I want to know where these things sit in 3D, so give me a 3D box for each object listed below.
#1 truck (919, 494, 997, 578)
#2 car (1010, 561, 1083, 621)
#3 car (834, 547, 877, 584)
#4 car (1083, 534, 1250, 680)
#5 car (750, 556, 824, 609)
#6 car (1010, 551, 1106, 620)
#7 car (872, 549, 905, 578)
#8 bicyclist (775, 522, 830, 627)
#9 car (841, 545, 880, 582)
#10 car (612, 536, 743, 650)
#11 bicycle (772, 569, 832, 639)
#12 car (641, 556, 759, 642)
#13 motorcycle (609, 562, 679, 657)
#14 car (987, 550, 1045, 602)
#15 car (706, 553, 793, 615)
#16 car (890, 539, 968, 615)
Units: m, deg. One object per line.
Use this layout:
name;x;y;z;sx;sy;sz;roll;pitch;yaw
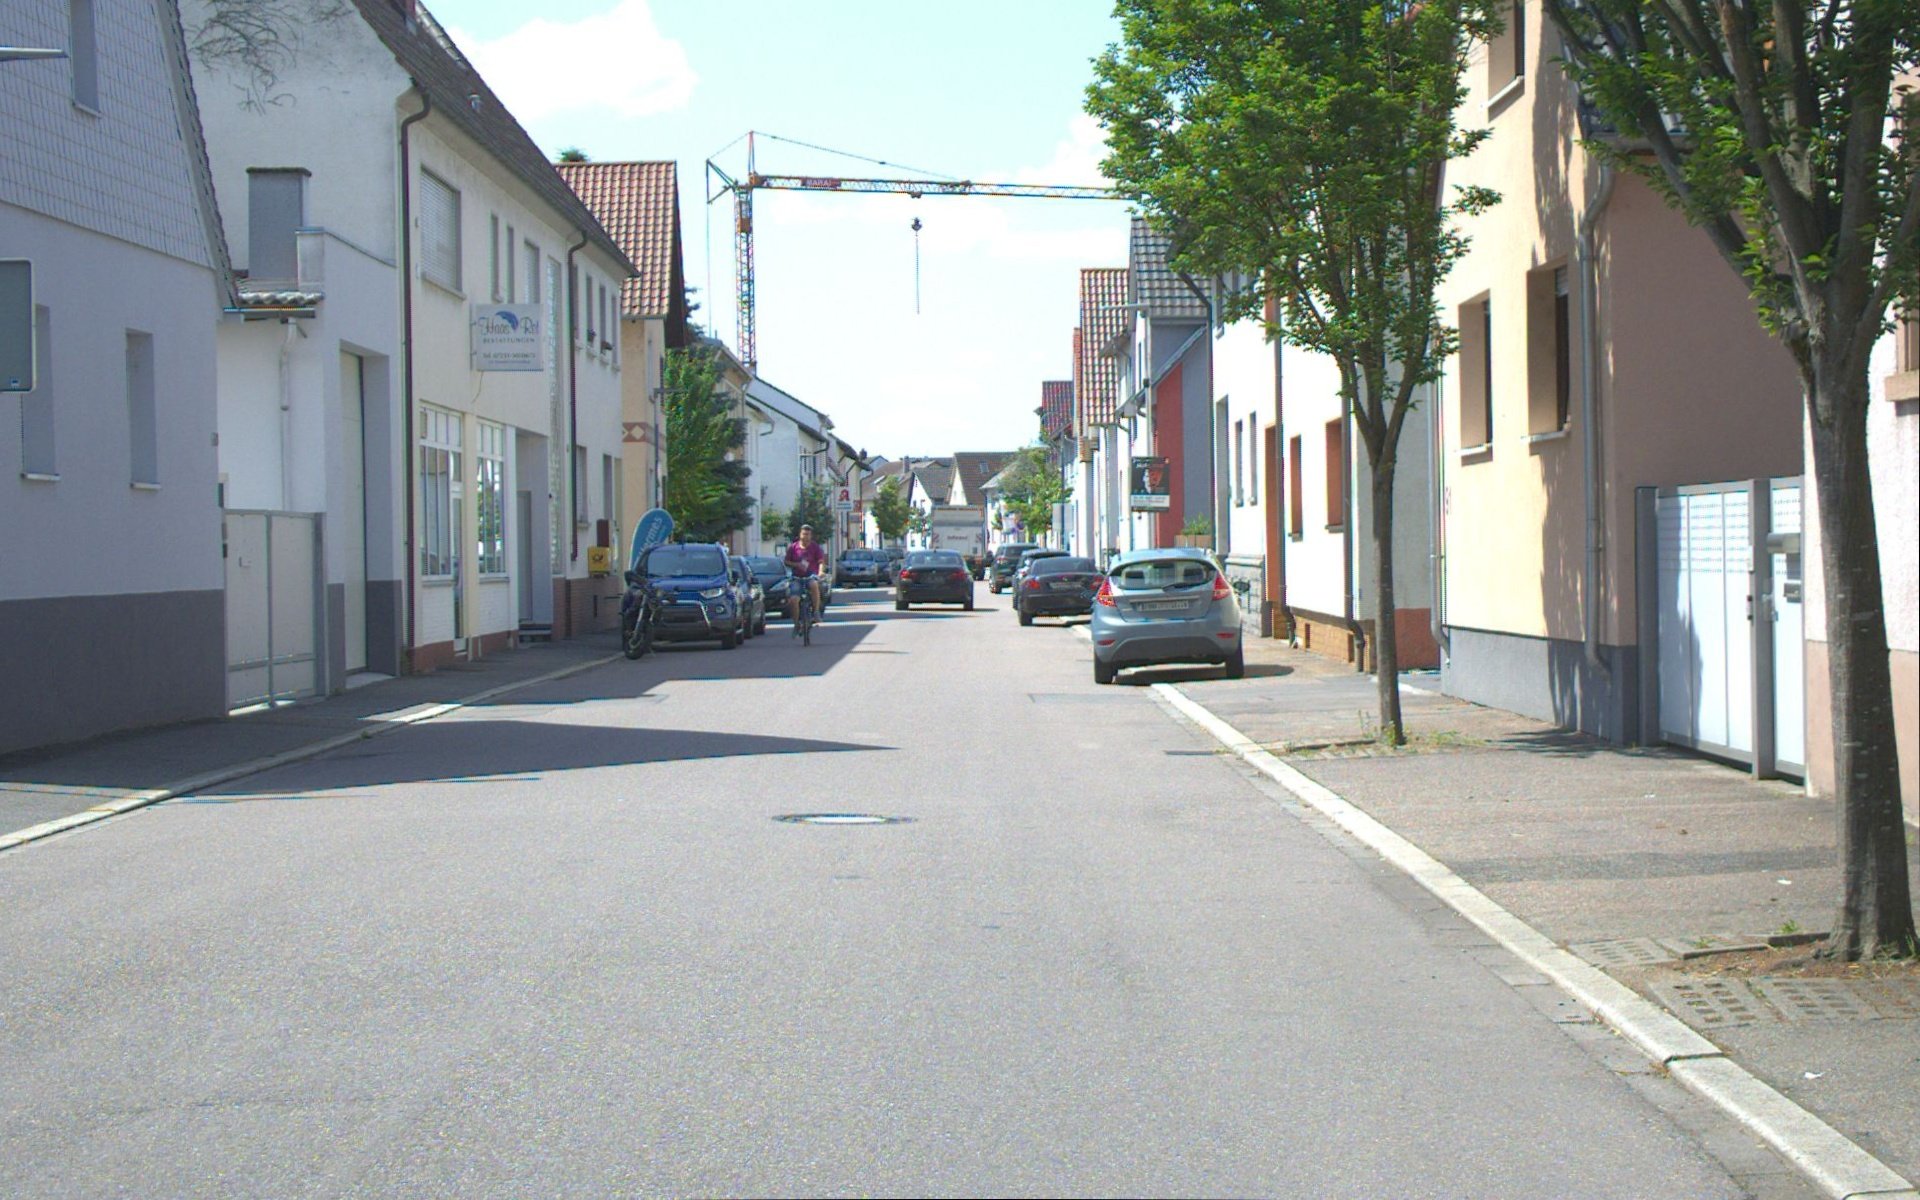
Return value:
truck;-0.170;-3.083;169.506;3.378;3.852;13.927;-2;1;-1
car;2.113;-0.240;84.630;1.688;1.417;3.657;-1;1;0
car;-4.502;-1.500;148.749;1.758;1.519;4.289;-1;1;0
car;2.378;0.041;39.326;1.722;1.476;3.749;-4;1;4
car;-4.973;-0.517;99.441;1.768;1.455;4.436;-1;1;2
car;1.897;-0.308;67.655;1.816;1.271;4.147;-1;1;1
car;-4.066;-2.080;195.099;1.723;1.550;4.172;0;1;1
bicyclist;-2.446;-0.402;53.492;0.747;1.631;0.956;0;1;3
car;-4.506;-1.650;155.785;1.653;1.603;4.061;-1;1;0
car;-4.380;-0.139;53.754;1.717;1.634;4.149;-3;1;-1
bicycle;-2.446;0.051;53.477;0.743;1.044;1.940;0;1;3
car;-4.508;-0.045;60.123;1.697;1.407;4.390;-1;1;0
motorcycle;-4.516;0.122;49.208;0.808;1.308;2.106;-1;1;0
car;1.869;-0.839;116.758;1.728;1.711;4.276;-1;1;-2
car;-4.777;-0.381;78.531;1.761;1.369;4.067;0;1;0
car;-0.764;-0.557;83.236;1.782;1.747;4.000;-2;1;-1
